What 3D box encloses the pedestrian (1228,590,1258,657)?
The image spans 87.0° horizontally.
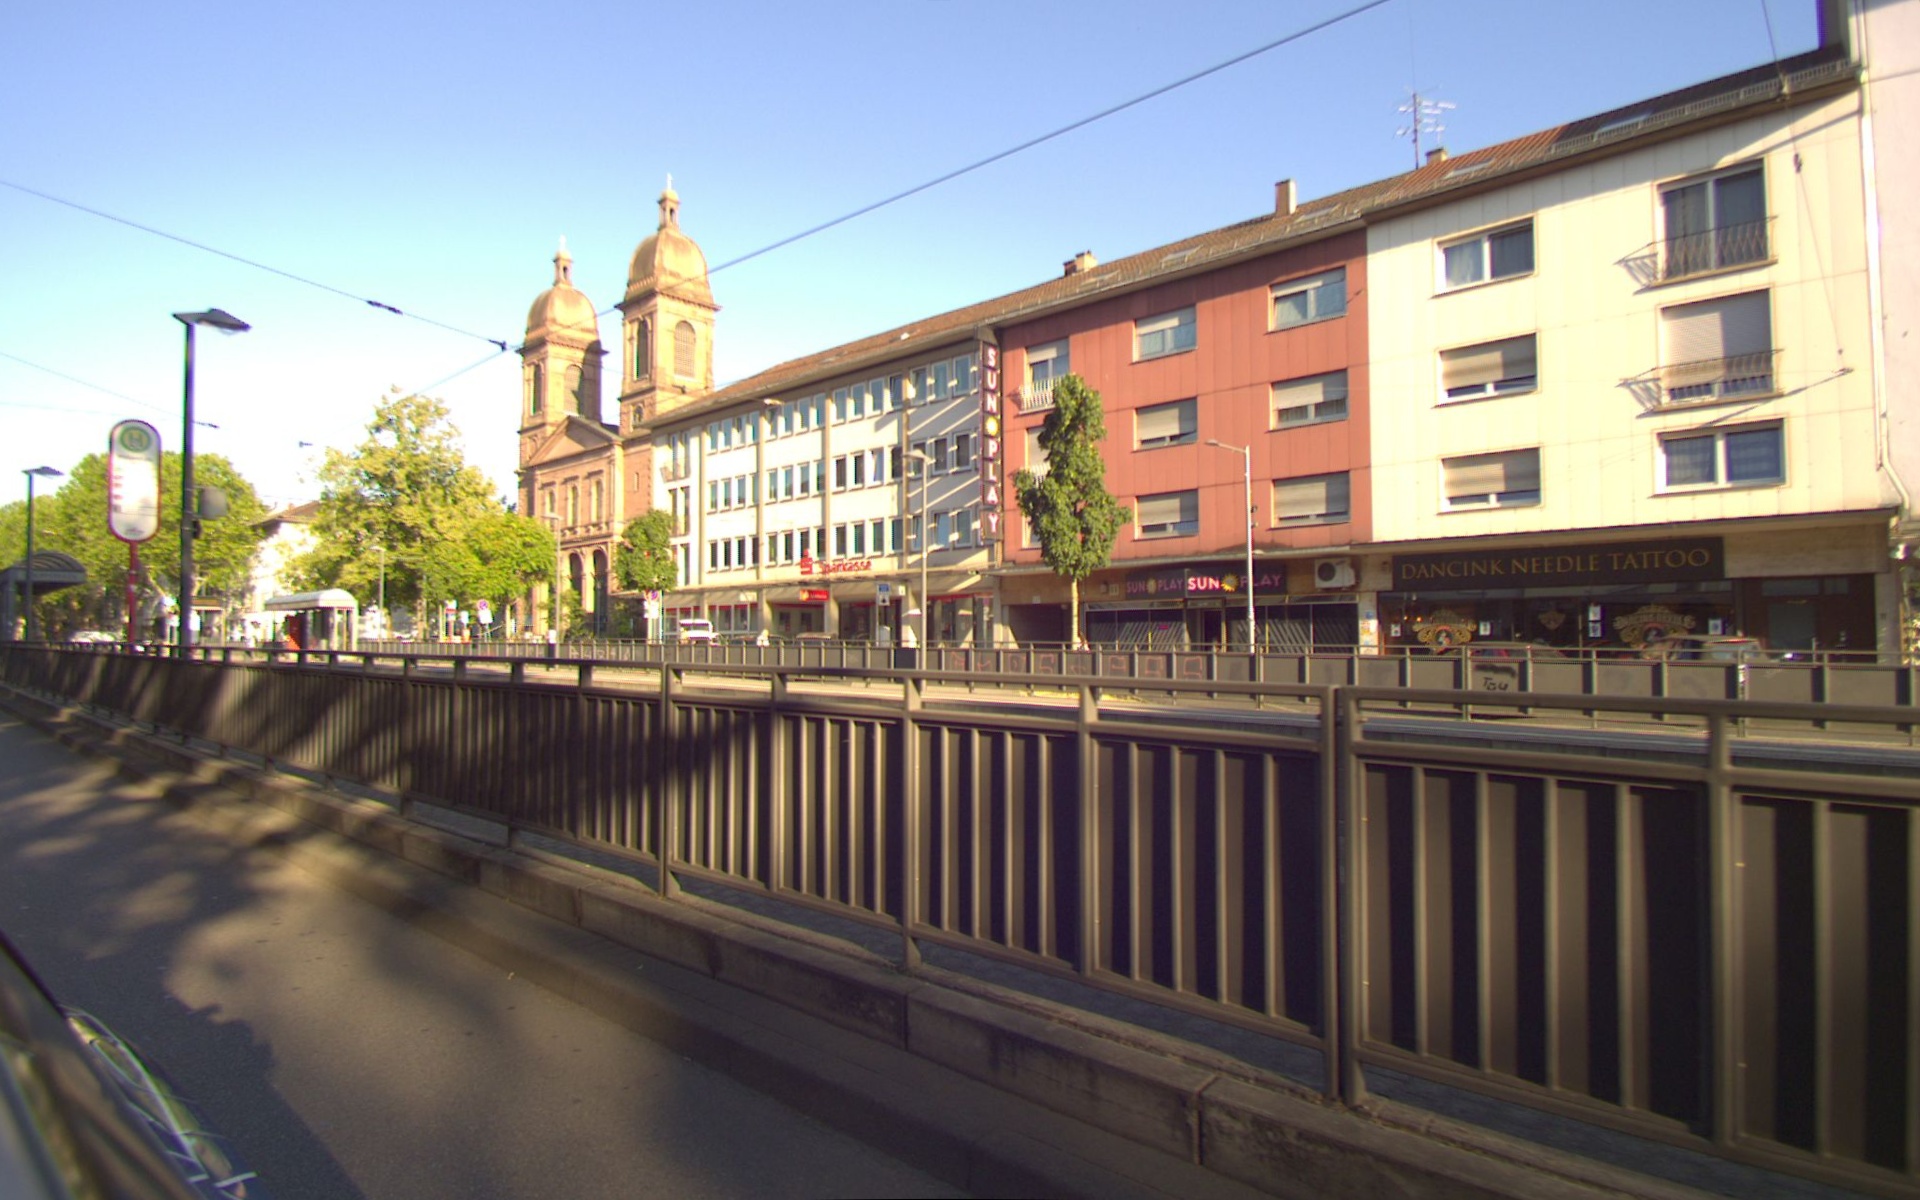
[{"bbox_3d":[8.059,0.673,28.806,0.588,1.863,0.735,-2,-3,36],"label":"pedestrian"}]

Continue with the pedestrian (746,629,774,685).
[{"bbox_3d":[-6.612,1.881,33.487,0.757,1.801,0.725,-1,0,-1],"label":"pedestrian"}]

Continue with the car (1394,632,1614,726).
[{"bbox_3d":[10.590,1.464,20.041,1.834,1.502,3.778,-1,0,-10],"label":"car"}]

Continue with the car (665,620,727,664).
[{"bbox_3d":[-10.049,1.557,38.749,1.717,1.497,4.005,-1,0,-6],"label":"car"}]

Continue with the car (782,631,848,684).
[{"bbox_3d":[-4.775,1.868,33.781,1.842,1.541,4.003,-1,0,-4],"label":"car"}]

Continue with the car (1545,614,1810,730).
[{"bbox_3d":[13.118,1.219,18.818,1.834,1.813,3.778,-1,0,-10],"label":"car"}]
